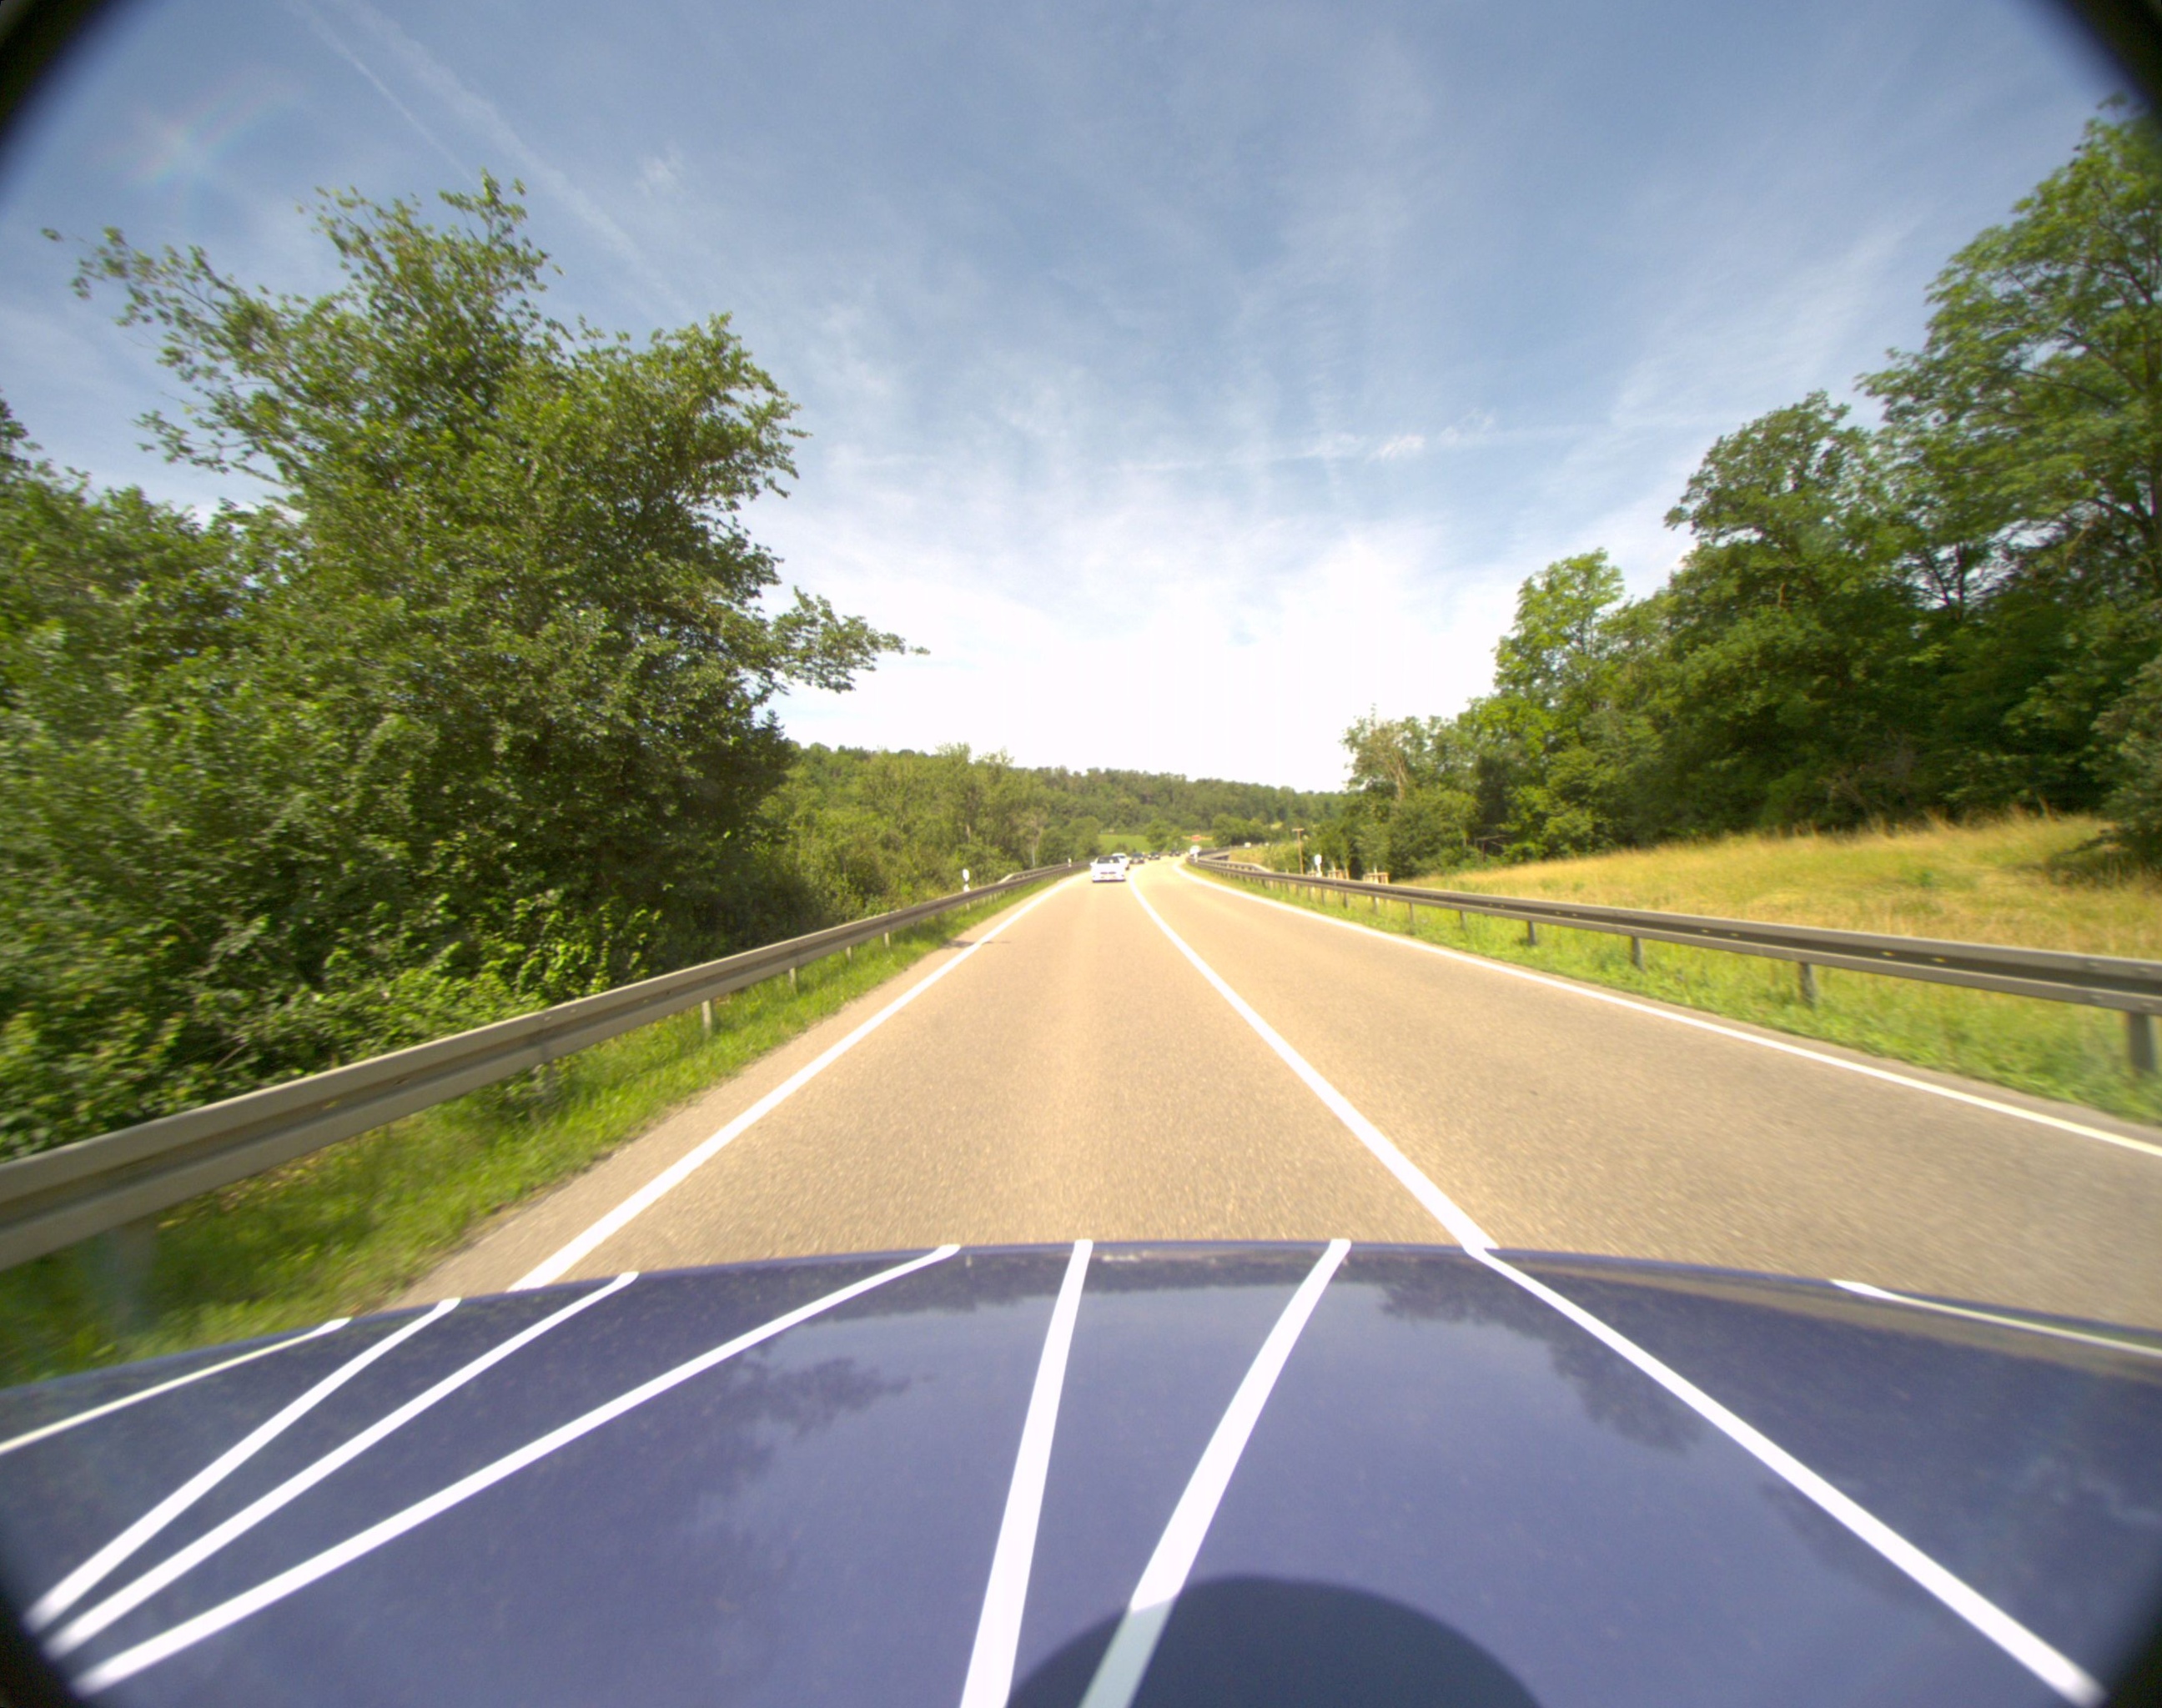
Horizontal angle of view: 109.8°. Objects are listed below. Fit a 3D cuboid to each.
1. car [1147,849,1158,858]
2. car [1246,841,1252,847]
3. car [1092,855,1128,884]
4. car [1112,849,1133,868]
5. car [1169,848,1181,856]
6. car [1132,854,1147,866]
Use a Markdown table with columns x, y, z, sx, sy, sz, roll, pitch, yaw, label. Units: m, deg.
| x | y | z | sx | sy | sz | roll | pitch | yaw | label |
| --- | --- | --- | --- | --- | --- | --- | --- | --- | --- |
| 12.022 | -0.090 | 128.039 | 1.742 | 1.445 | 4.036 | -2 | 1 | 3 | car |
| 54.203 | -3.216 | 245.274 | 1.741 | 1.765 | 4.039 | -2 | 1 | 14 | car |
| 1.694 | 0.833 | 42.841 | 1.742 | 1.445 | 4.037 | -2 | 1 | 5 | car |
| 3.825 | 0.379 | 69.614 | 1.717 | 1.523 | 4.000 | -3 | 1 | 4 | car |
| 19.594 | -0.457 | 158.013 | 1.741 | 1.445 | 4.040 | -2 | 1 | 15 | car |
| 7.765 | 0.819 | 100.847 | 1.742 | 1.445 | 4.038 | -2 | 1 | 8 | car |
